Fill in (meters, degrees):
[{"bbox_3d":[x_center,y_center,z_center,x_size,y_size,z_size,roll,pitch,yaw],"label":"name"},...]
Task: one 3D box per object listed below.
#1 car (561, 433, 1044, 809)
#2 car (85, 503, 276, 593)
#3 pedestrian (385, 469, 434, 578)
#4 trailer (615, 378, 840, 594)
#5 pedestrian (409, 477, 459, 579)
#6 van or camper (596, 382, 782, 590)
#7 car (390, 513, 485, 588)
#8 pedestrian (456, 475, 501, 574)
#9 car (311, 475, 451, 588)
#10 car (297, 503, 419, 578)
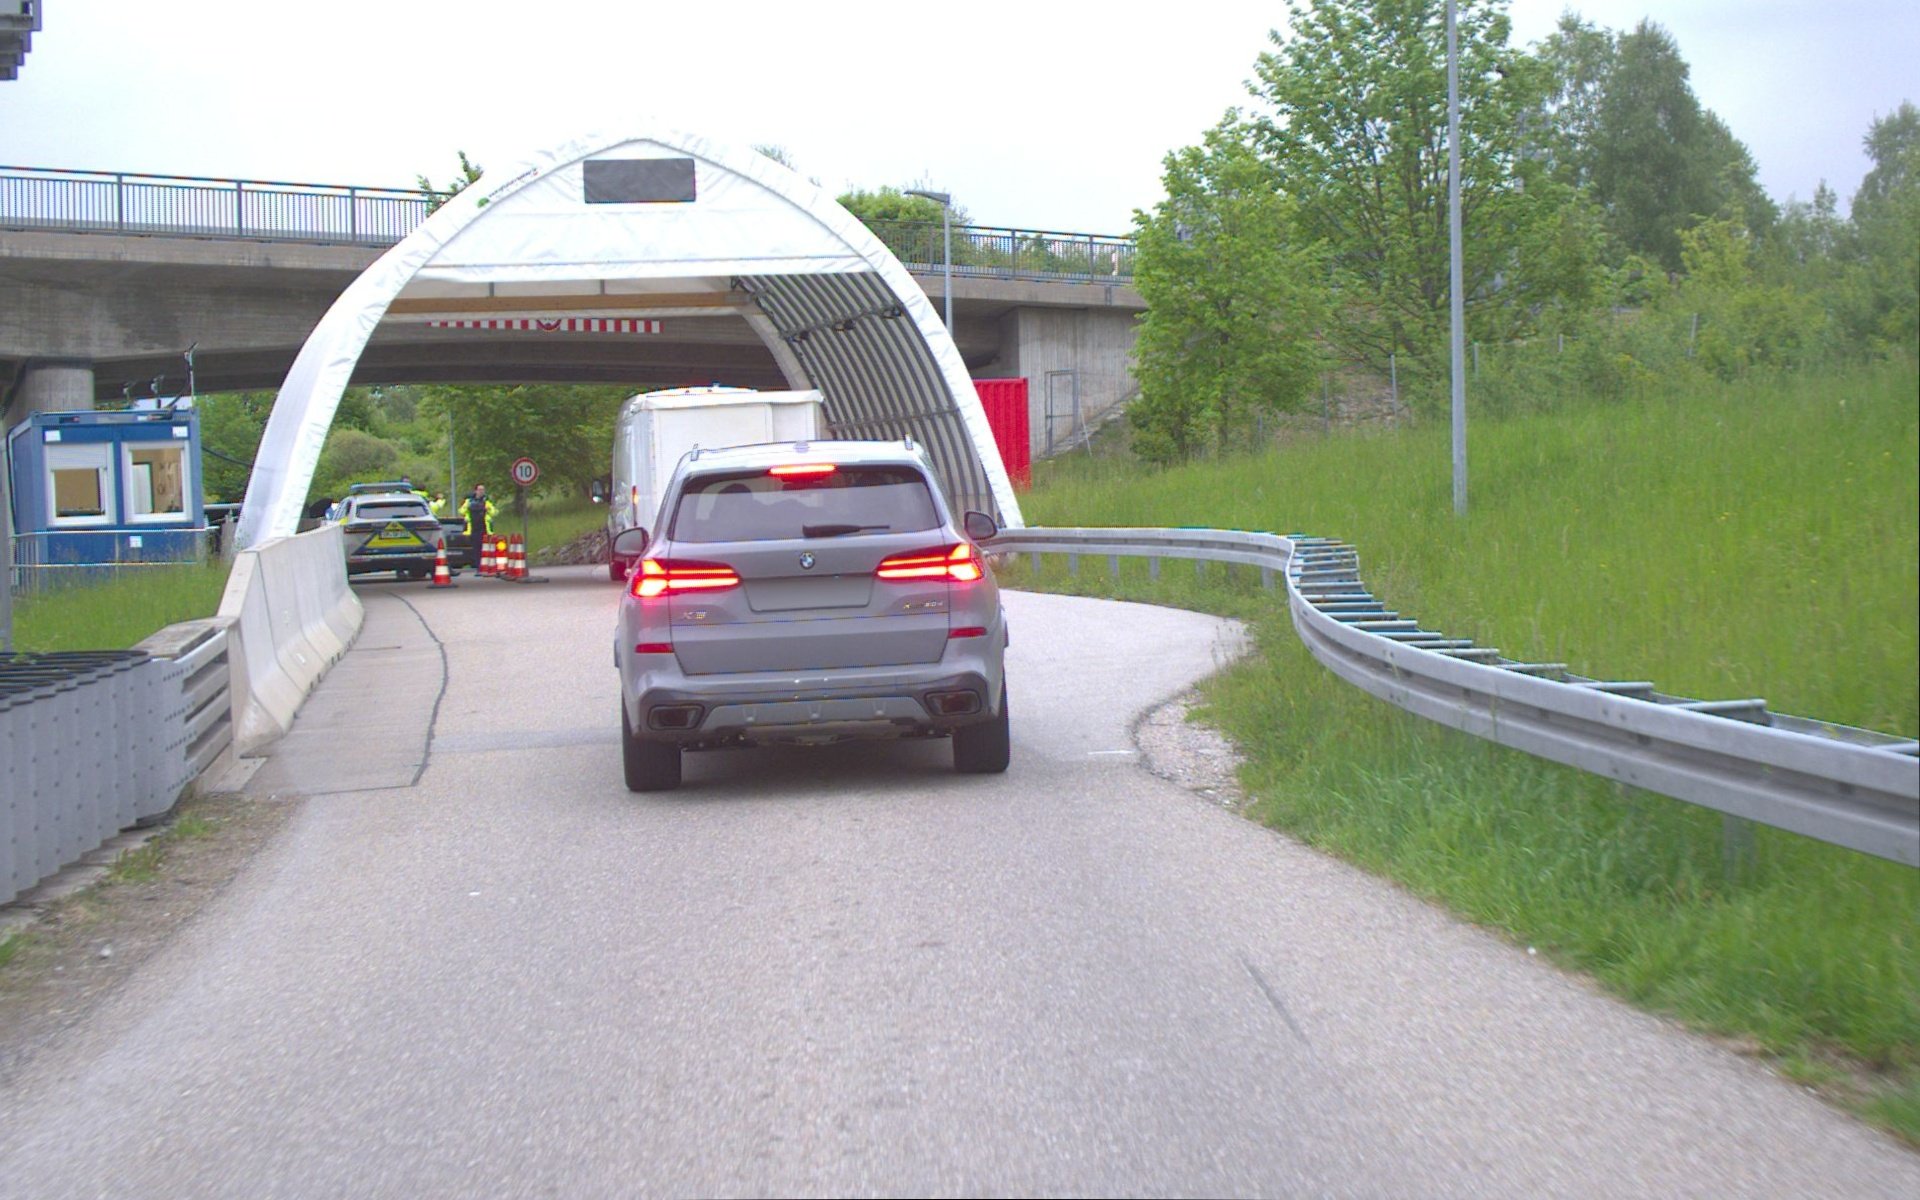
[{"bbox_3d":[-0.714,0.049,18.541,1.994,1.713,4.000,-3,1,5],"label":"car"},{"bbox_3d":[-18.458,-1.245,81.496,3.987,1.847,1.709,-3,2,2],"label":"car"},{"bbox_3d":[-10.045,-1.396,62.705,0.720,1.938,0.690,-4,2,-13],"label":"pedestrian"},{"bbox_3d":[-3.073,-1.381,43.890,2.278,2.422,6.819,-3,1,-8],"label":"trailer"},{"bbox_3d":[-9.435,-1.290,61.654,0.720,1.769,0.690,-4,2,-13],"label":"pedestrian"},{"bbox_3d":[-4.038,-1.601,50.224,2.156,2.754,5.873,-3,1,-9],"label":"van or camper"},{"bbox_3d":[-13.926,-1.308,91.531,1.703,1.847,4.001,-4,2,-19],"label":"car"},{"bbox_3d":[-8.825,-1.383,63.023,0.648,1.769,0.606,-4,2,-15],"label":"pedestrian"},{"bbox_3d":[-9.995,-1.171,59.151,1.993,1.765,3.767,-4,2,-14],"label":"car"},{"bbox_3d":[-17.609,-1.717,100.424,1.994,2.006,4.000,-4,2,-33],"label":"car"}]
